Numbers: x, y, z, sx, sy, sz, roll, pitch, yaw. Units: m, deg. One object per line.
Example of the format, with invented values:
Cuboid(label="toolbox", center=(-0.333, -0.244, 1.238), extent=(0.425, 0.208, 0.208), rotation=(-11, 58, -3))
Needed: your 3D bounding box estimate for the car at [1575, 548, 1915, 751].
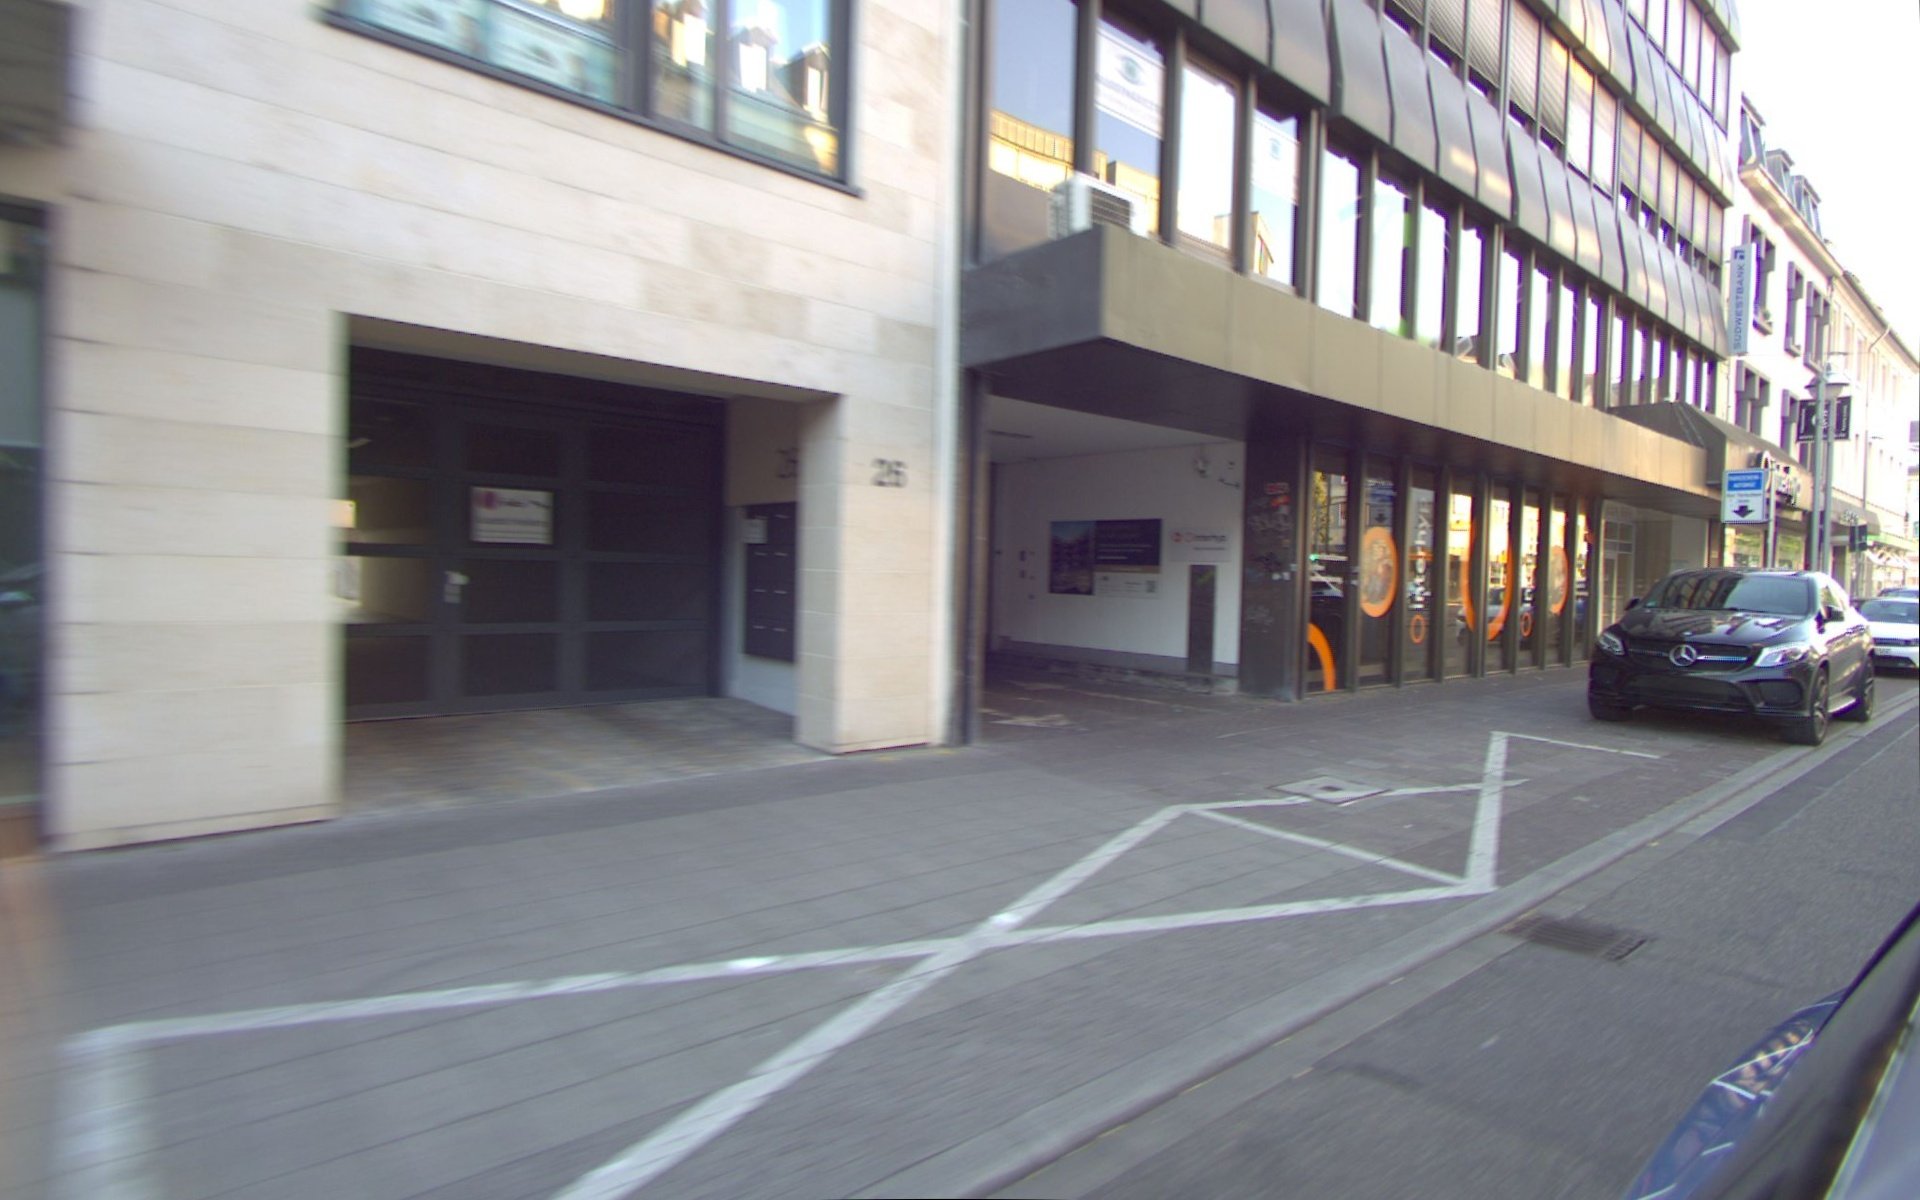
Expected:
Cuboid(label="car", center=(8.907, 0.395, 11.334), extent=(4.588, 1.755, 1.989), rotation=(0, 5, -40))

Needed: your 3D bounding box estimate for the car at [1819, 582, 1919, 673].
Cuboid(label="car", center=(17.911, 0.471, 19.240), extent=(3.805, 1.503, 1.770), rotation=(0, 5, -41))

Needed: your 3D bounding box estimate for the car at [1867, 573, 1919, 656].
Cuboid(label="car", center=(22.485, 0.333, 23.131), extent=(4.482, 1.737, 1.920), rotation=(0, 5, -40))
